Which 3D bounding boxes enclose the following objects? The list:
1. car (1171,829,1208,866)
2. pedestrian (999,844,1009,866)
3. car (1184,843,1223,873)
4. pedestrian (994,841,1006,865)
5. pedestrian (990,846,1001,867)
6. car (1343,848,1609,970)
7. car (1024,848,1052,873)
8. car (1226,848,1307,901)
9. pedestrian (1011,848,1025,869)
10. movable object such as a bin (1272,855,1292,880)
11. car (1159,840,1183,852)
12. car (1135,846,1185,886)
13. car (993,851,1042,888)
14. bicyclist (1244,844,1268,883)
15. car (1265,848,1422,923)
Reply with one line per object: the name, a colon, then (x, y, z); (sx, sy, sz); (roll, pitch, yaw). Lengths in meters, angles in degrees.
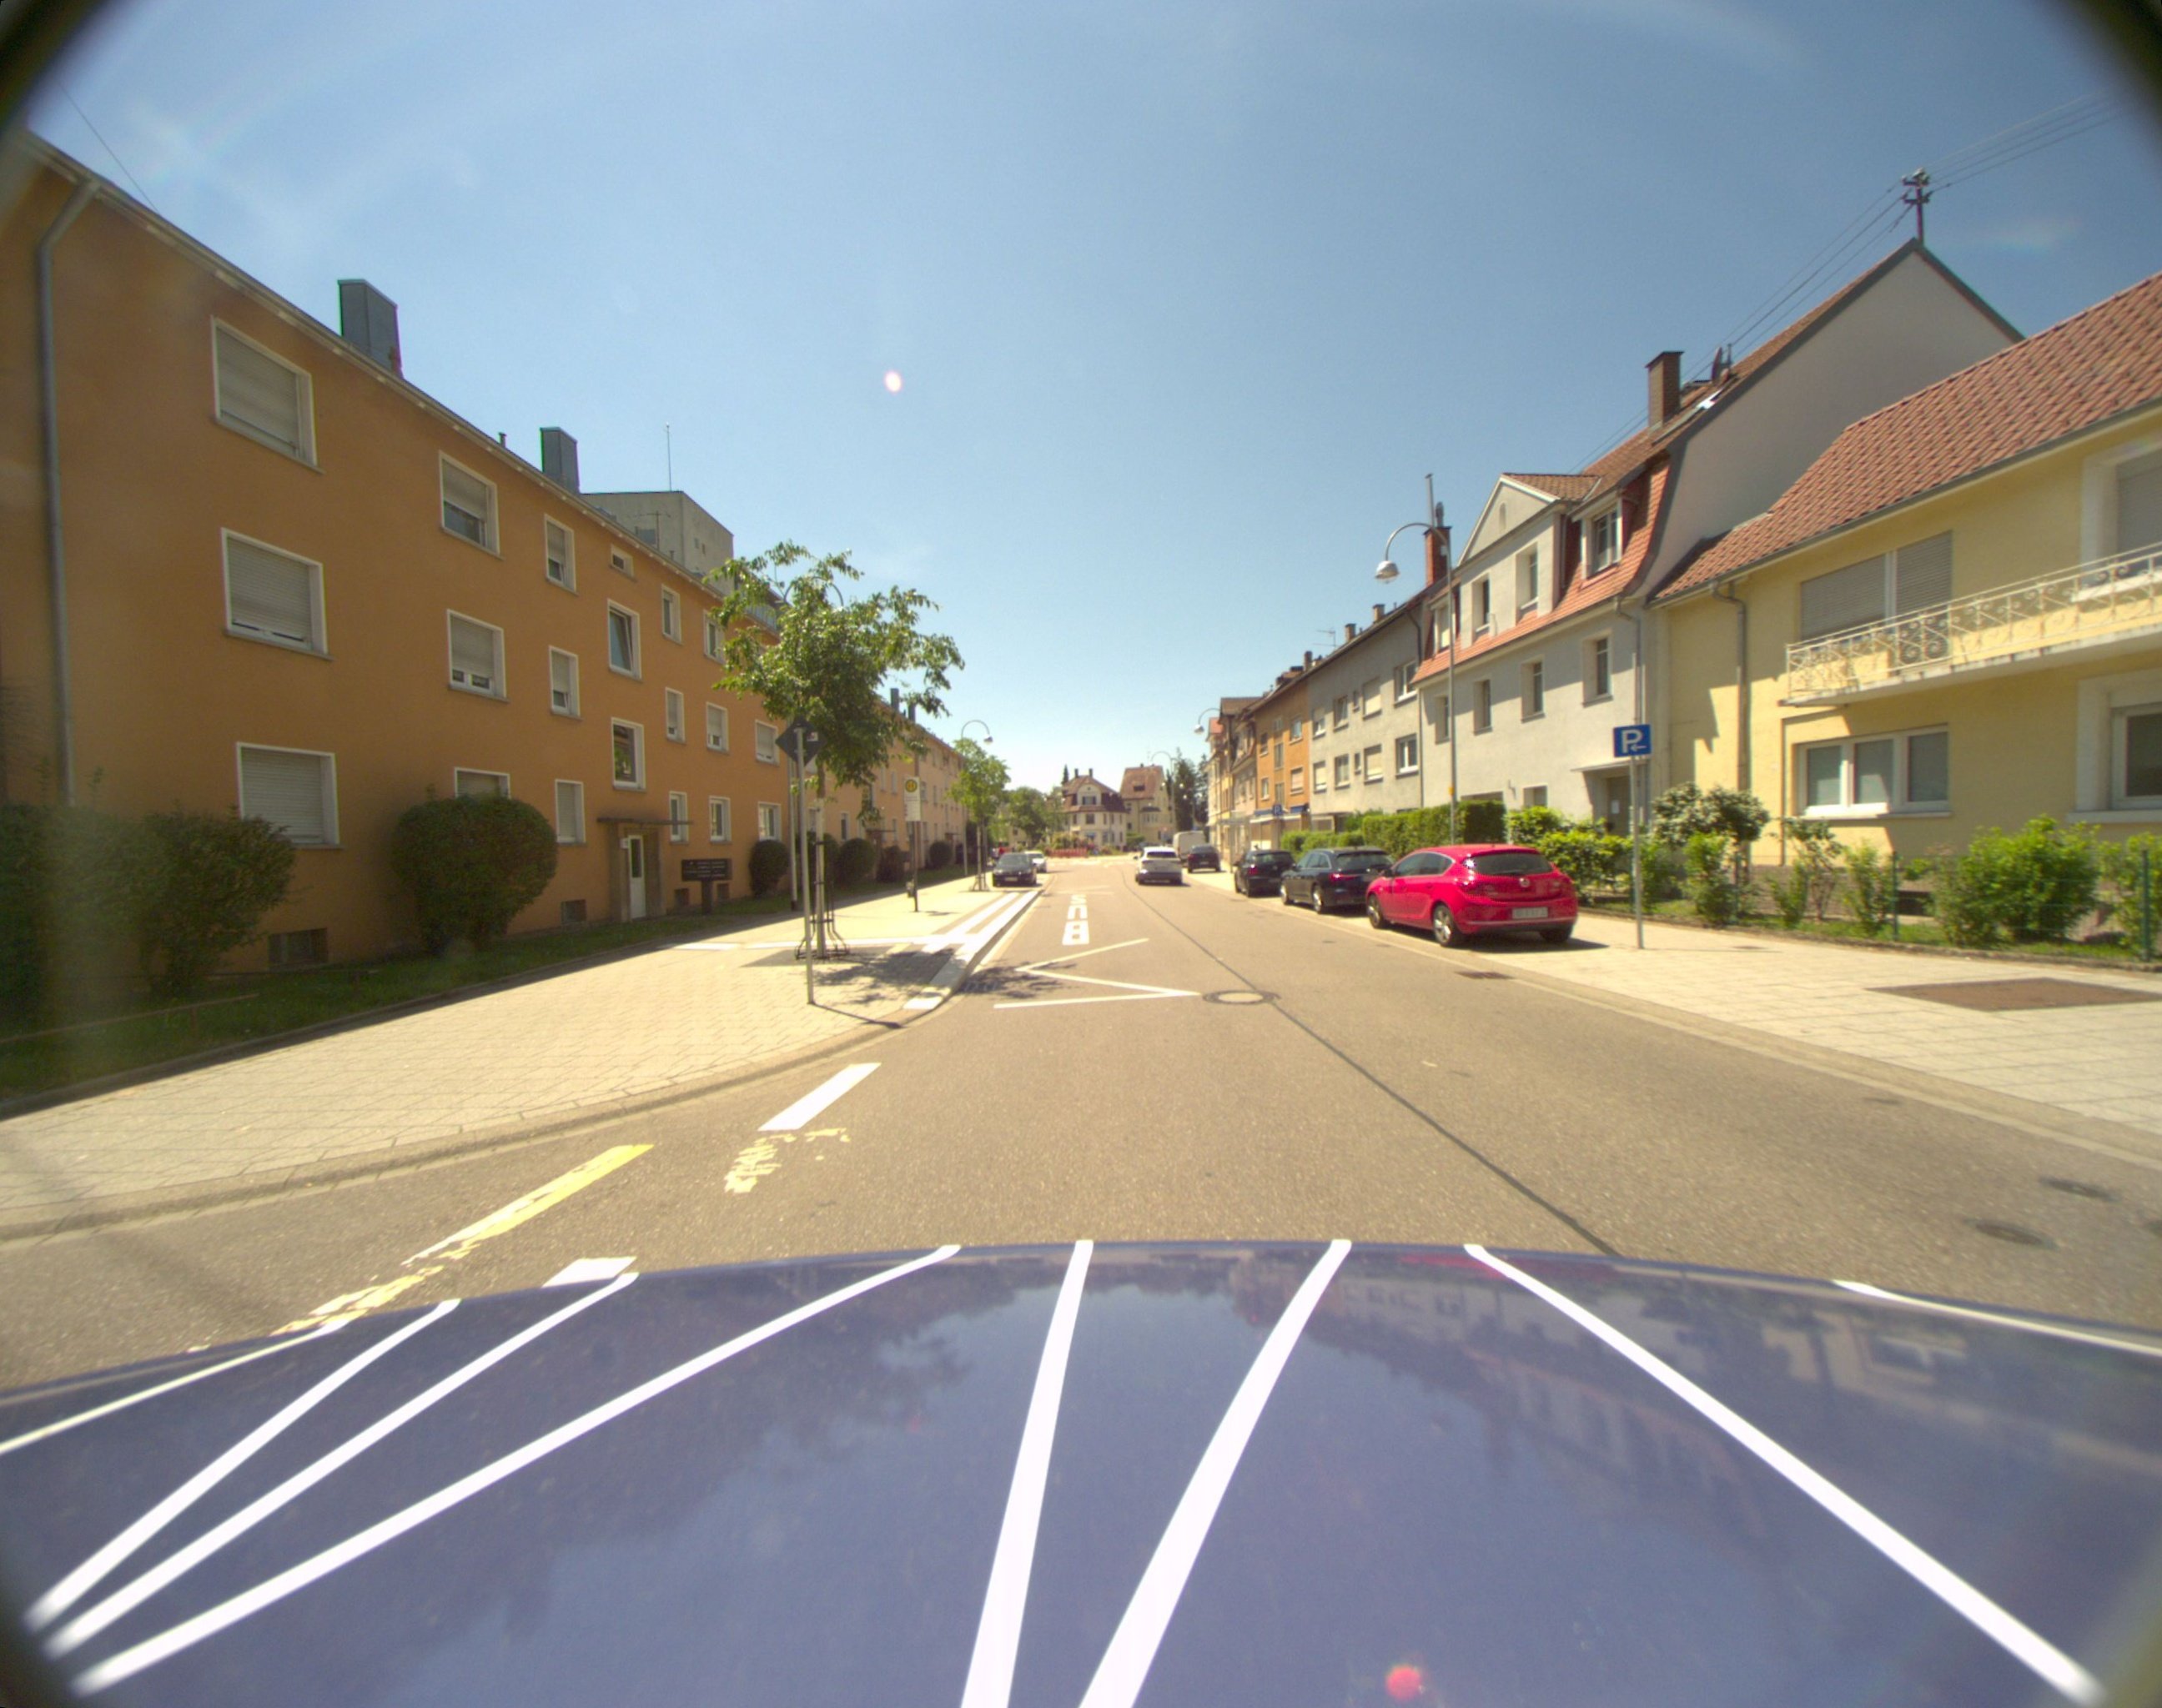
car: (7.986, -0.506, 56.292); (2.124, 2.435, 6.118); (-3, 1, 4)
pedestrian: (-6.343, 0.091, 62.772); (0.790, 1.801, 1.005); (1, 1, -4)
car: (7.317, 0.193, 45.171); (2.089, 1.605, 5.111); (-3, 1, 9)
pedestrian: (-6.353, -0.047, 59.500); (0.822, 1.843, 0.984); (-1, 1, -4)
pedestrian: (-7.129, 0.199, 63.212); (0.796, 1.768, 1.008); (-1, 1, -4)
car: (6.118, 0.720, 12.555); (1.882, 1.471, 4.737); (-4, 1, 0)
car: (-2.933, 0.409, 51.589); (1.818, 1.468, 4.504); (0, 2, -4)
car: (5.923, 0.604, 24.706); (1.792, 1.451, 4.198); (-4, 0, 4)
pedestrian: (-5.230, 0.372, 63.176); (1.174, 1.723, 1.190); (1, 2, -5)
movable object such as a bin: (8.590, 0.554, 32.456); (0.674, 1.042, 0.652); (-1, 1, 0)
car: (11.110, -0.988, 93.465); (1.732, 1.403, 4.007); (1, 1, 26)
car: (3.398, 0.472, 33.264); (1.882, 1.588, 4.359); (0, 1, 2)
car: (-2.848, 0.645, 35.025); (1.838, 1.495, 5.062); (1, 1, 0)
bicyclist: (7.674, 0.400, 33.348); (0.784, 1.650, 0.835); (-1, 1, -1)
car: (6.086, 0.646, 18.389); (1.868, 1.453, 5.306); (-3, 0, 0)
